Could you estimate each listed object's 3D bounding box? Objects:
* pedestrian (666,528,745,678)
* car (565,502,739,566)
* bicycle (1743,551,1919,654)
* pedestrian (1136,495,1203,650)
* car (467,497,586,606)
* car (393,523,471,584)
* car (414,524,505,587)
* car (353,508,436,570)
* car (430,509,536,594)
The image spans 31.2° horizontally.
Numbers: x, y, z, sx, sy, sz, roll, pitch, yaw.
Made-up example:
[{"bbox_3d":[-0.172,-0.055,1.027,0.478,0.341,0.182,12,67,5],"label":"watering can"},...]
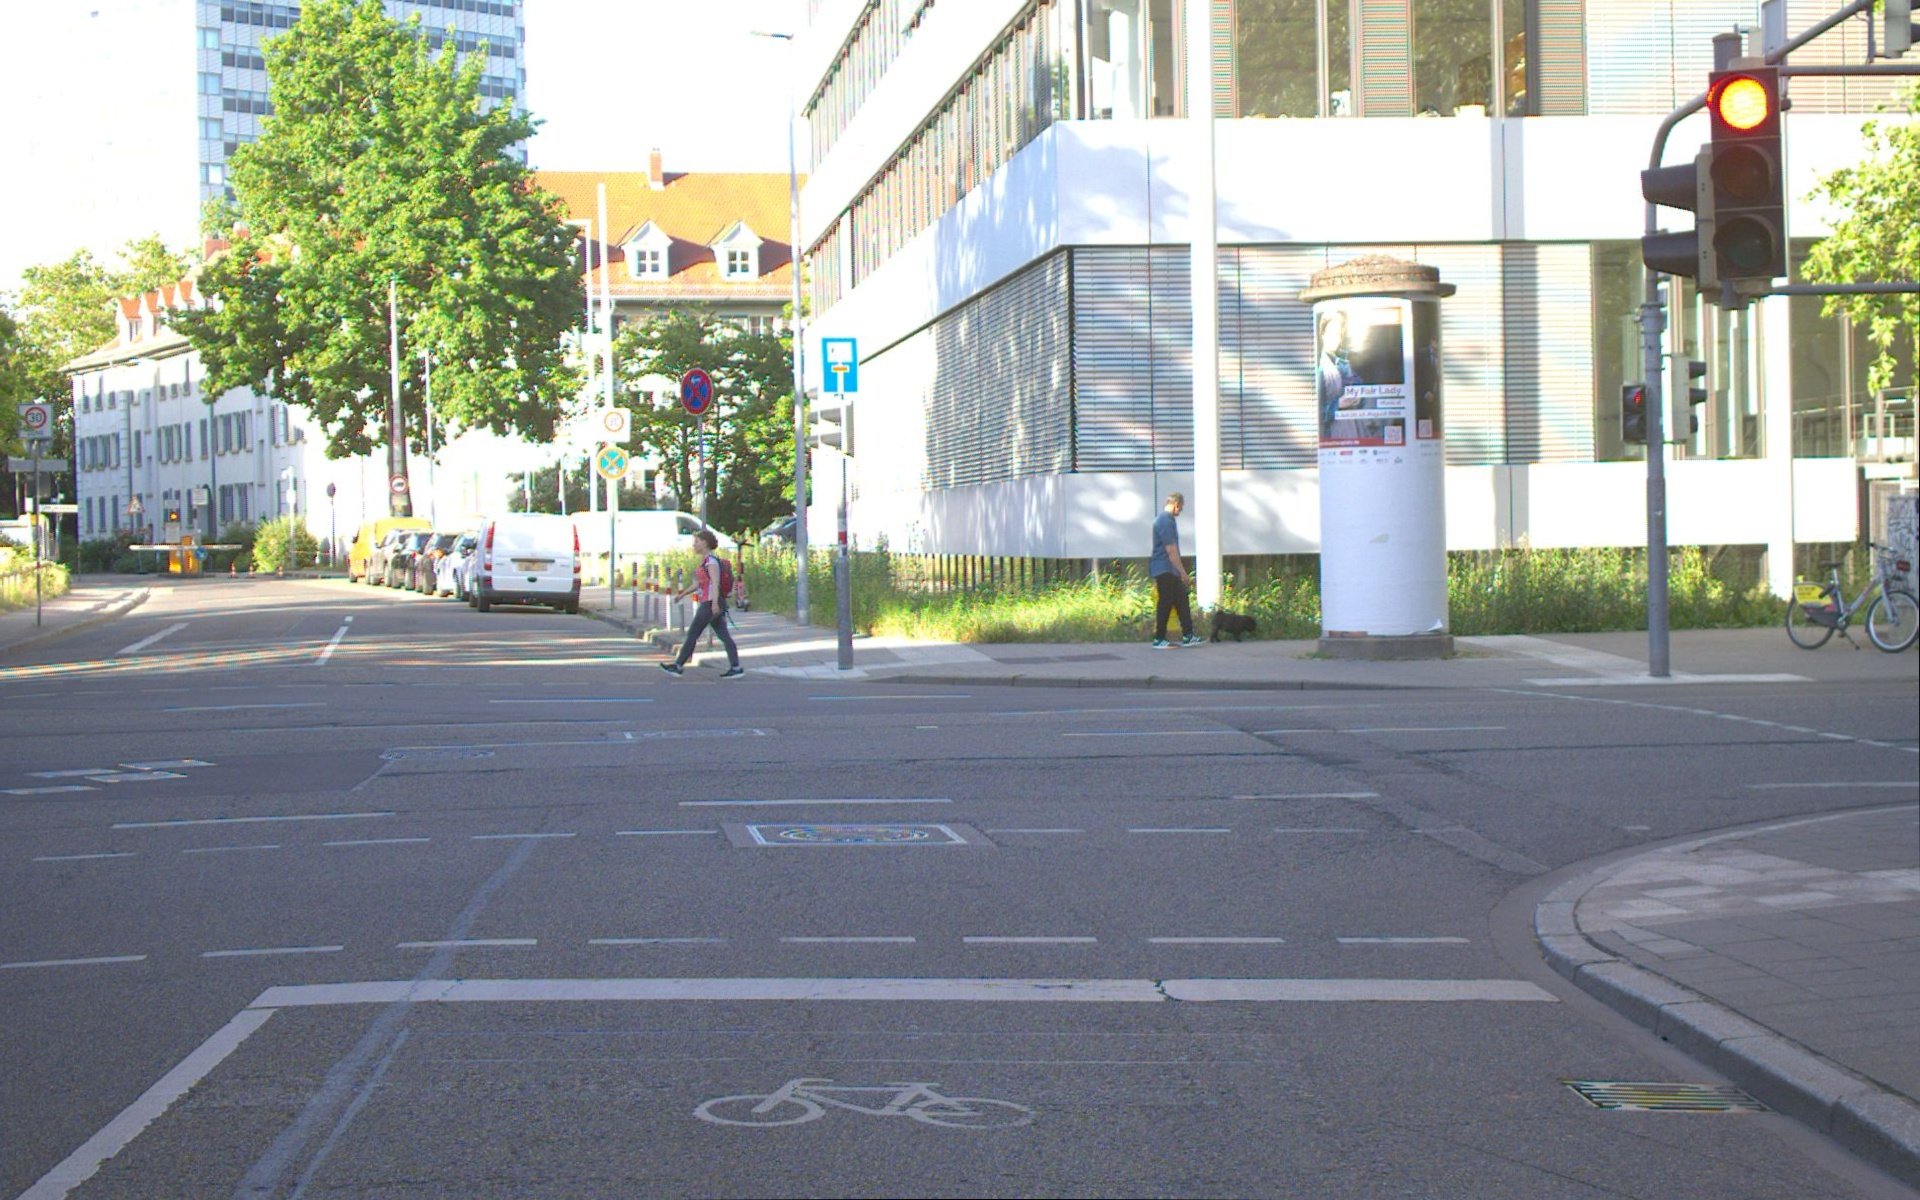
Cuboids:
[{"bbox_3d":[-2.727,0.026,36.927,0.712,1.594,0.617,-1,1,7],"label":"pedestrian"},{"bbox_3d":[-9.231,-1.946,102.859,4.880,1.865,2.001,0,0,-17],"label":"car"},{"bbox_3d":[9.170,0.019,36.123,0.463,1.045,1.914,-2,2,-42],"label":"bicycle"},{"bbox_3d":[2.380,-0.322,38.955,0.653,1.730,0.812,-1,1,9],"label":"pedestrian"},{"bbox_3d":[-8.178,-0.926,64.646,2.066,1.956,4.239,-1,1,-9],"label":"car"},{"bbox_3d":[-13.197,-1.171,85.843,1.703,1.459,4.239,-1,1,-11],"label":"car"},{"bbox_3d":[-11.820,-1.073,81.010,1.703,1.419,4.239,-1,1,-14],"label":"car"},{"bbox_3d":[-15.750,-1.709,95.658,2.100,1.652,4.477,-1,1,-11],"label":"car"},{"bbox_3d":[-10.626,-1.096,76.324,1.946,1.789,4.239,-1,1,-13],"label":"car"}]
